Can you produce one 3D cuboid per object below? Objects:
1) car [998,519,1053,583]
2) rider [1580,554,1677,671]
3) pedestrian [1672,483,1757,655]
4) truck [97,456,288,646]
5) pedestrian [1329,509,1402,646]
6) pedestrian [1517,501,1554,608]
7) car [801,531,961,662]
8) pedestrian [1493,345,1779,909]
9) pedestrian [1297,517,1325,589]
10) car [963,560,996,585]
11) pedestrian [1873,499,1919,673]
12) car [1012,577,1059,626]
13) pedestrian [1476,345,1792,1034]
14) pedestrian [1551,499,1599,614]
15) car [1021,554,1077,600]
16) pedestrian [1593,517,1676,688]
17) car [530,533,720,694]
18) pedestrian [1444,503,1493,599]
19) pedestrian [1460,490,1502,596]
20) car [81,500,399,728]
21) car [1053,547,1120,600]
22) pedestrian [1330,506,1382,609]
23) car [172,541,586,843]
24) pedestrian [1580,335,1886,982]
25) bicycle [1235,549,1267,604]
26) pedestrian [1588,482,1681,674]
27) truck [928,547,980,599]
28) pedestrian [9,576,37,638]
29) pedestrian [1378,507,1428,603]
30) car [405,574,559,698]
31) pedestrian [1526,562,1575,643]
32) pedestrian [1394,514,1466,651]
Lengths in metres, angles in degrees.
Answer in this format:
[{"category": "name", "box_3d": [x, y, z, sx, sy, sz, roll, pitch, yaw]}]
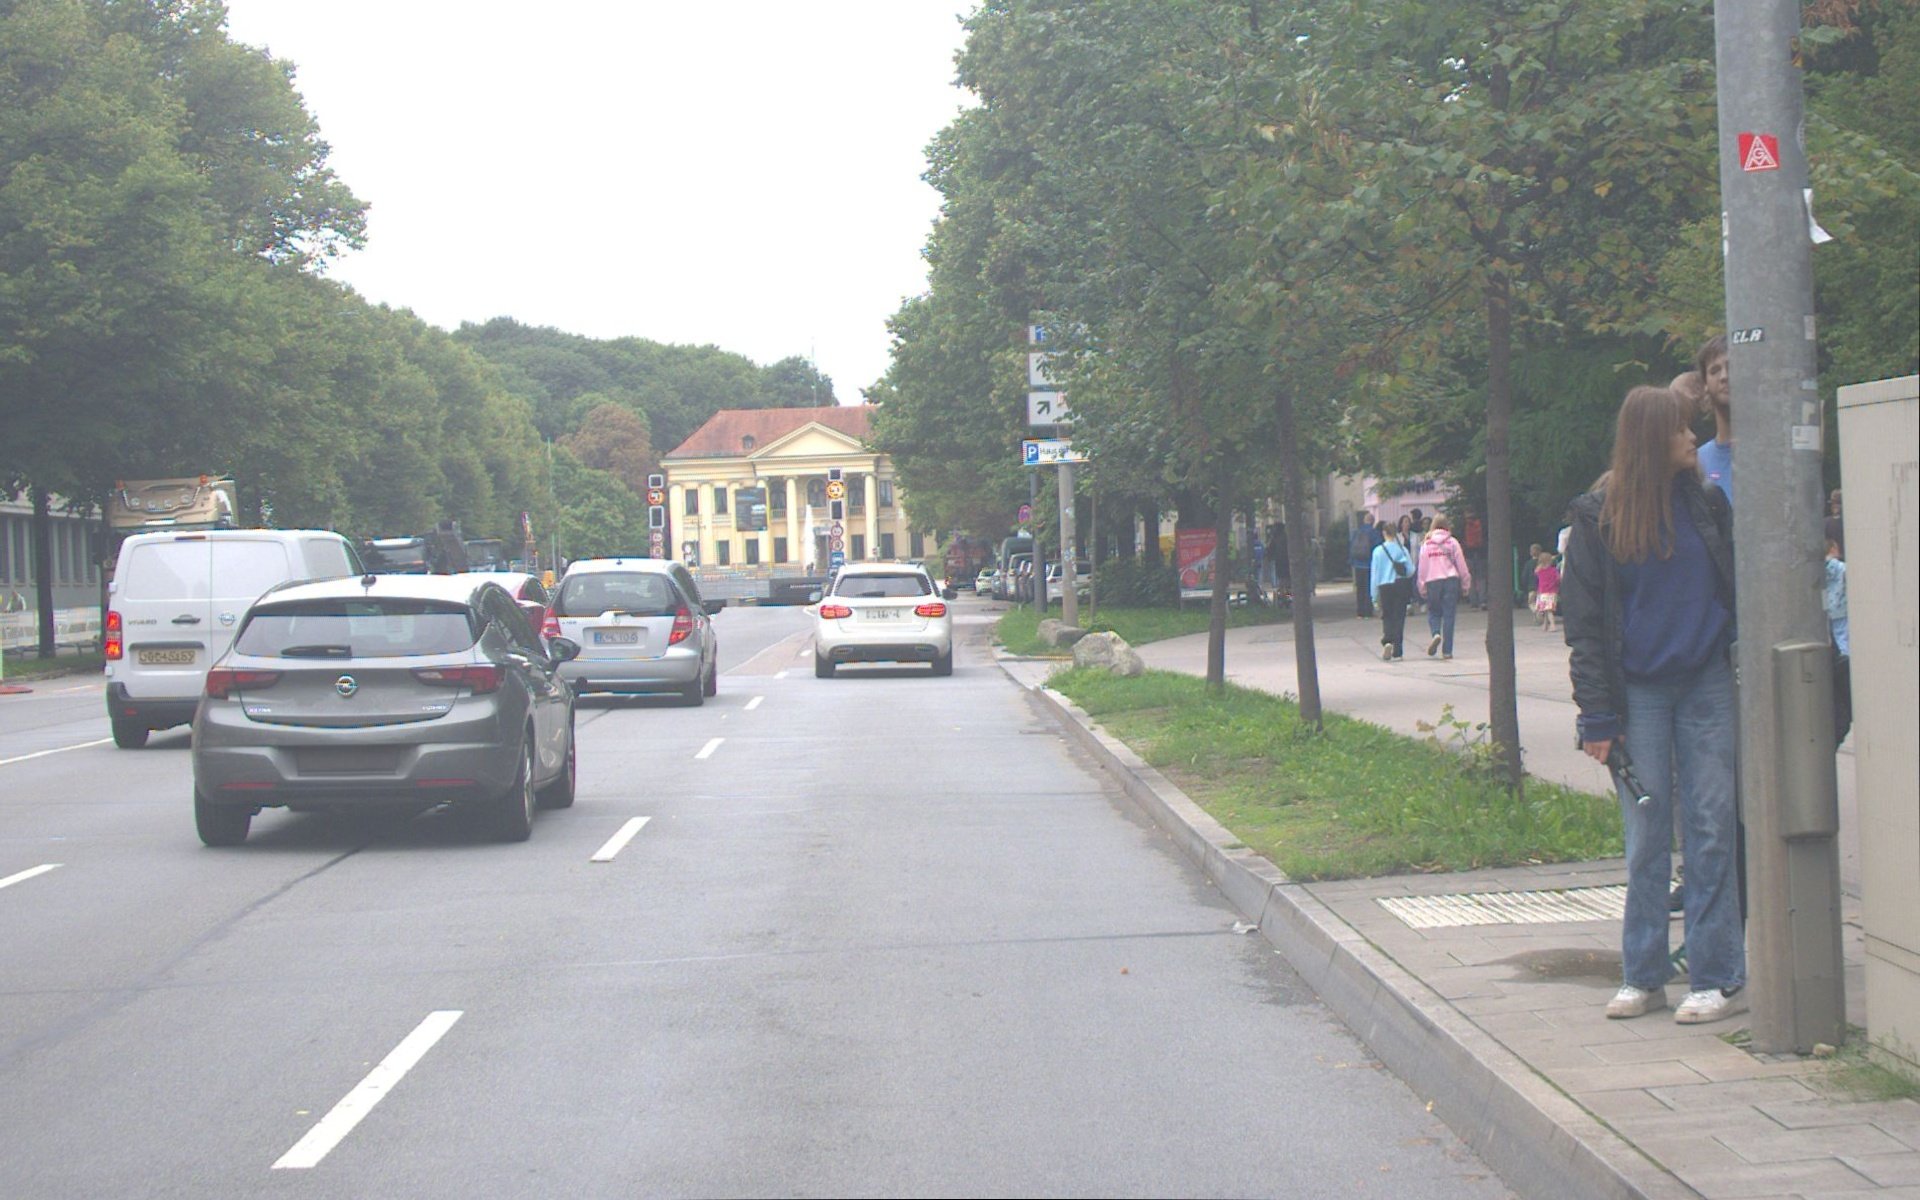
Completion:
[{"category": "car", "box_3d": [2.730, -2.060, 144.362, 1.993, 2.634, 4.878, -1, 1, -2]}, {"category": "rider", "box_3d": [6.478, 0.116, 33.373, 0.765, 1.108, 1.244, -1, 1, 4]}, {"category": "pedestrian", "box_3d": [7.512, -0.308, 34.249, 0.726, 1.685, 0.648, -1, 1, 4]}, {"category": "truck", "box_3d": [-16.092, -1.030, 72.566, 2.915, 3.762, 7.667, -1, 1, -5]}, {"category": "pedestrian", "box_3d": [4.924, -0.277, 41.739, 0.755, 1.638, 0.849, 0, 1, 15]}, {"category": "pedestrian", "box_3d": [8.468, -0.675, 50.588, 0.485, 1.560, 0.572, 0, 1, 15]}, {"category": "car", "box_3d": [-1.083, -0.068, 45.323, 1.779, 1.639, 4.001, -1, 1, -6]}, {"category": "pedestrian", "box_3d": [2.337, 0.087, 11.891, 0.805, 1.874, 0.543, 0, 1, 35]}, {"category": "pedestrian", "box_3d": [8.598, -1.149, 84.184, 0.630, 1.768, 0.782, -1, 1, 3]}, {"category": "car", "box_3d": [1.077, -1.517, 191.242, 1.724, 1.319, 4.028, -2, 1, 0]}, {"category": "pedestrian", "box_3d": [8.428, -0.125, 30.409, 0.549, 1.522, 0.648, -1, 1, 4]}, {"category": "car", "box_3d": [3.015, 0.054, 137.714, 1.724, 1.861, 4.028, -2, 1, 0]}, {"category": "pedestrian", "box_3d": [1.817, 0.231, 9.338, 0.708, 1.802, 0.639, -1, 1, -1]}, {"category": "pedestrian", "box_3d": [8.996, -0.634, 50.266, 0.632, 1.661, 0.572, 0, 1, 15]}, {"category": "car", "box_3d": [3.062, -0.805, 118.858, 1.724, 1.459, 4.776, -2, 1, 0]}, {"category": "pedestrian", "box_3d": [6.727, 0.019, 34.317, 0.726, 1.685, 0.648, -1, 1, 4]}, {"category": "car", "box_3d": [-3.616, 0.113, 37.664, 1.779, 1.648, 4.000, -1, 1, -1]}, {"category": "pedestrian", "box_3d": [8.780, -0.845, 59.369, 0.755, 1.638, 0.690, 0, 1, 15]}, {"category": "pedestrian", "box_3d": [8.994, -0.979, 59.346, 0.588, 1.816, 0.850, -1, 1, 0]}, {"category": "car", "box_3d": [-6.416, 0.101, 31.180, 1.898, 1.841, 4.956, -2, 0, -1]}, {"category": "car", "box_3d": [3.886, -0.829, 106.274, 1.827, 1.544, 4.752, -2, 1, 0]}, {"category": "pedestrian", "box_3d": [6.722, -0.723, 58.329, 0.755, 1.731, 0.849, 0, 1, 15]}, {"category": "car", "box_3d": [-3.226, 0.452, 19.812, 1.710, 1.546, 4.000, -1, 1, 0]}, {"category": "pedestrian", "box_3d": [2.268, 0.158, 10.059, 0.638, 1.802, 0.709, 0, 1, 35]}, {"category": "bicycle", "box_3d": [5.460, -0.447, 64.574, 0.384, 1.018, 2.079, -1, 1, 0]}, {"category": "pedestrian", "box_3d": [6.002, -0.201, 30.634, 0.726, 1.685, 0.648, -1, 1, 4]}, {"category": "truck", "box_3d": [-0.450, -1.831, 228.981, 3.325, 3.355, 8.663, -1, 1, -1]}, {"category": "pedestrian", "box_3d": [-26.713, 0.197, 97.983, 0.578, 1.726, 0.764, -1, 1, 0]}, {"category": "pedestrian", "box_3d": [7.612, -0.768, 59.023, 0.755, 1.638, 0.650, 0, 1, 15]}, {"category": "car", "box_3d": [-6.747, 0.475, 48.868, 1.779, 1.648, 4.000, -1, 1, -2]}, {"category": "pedestrian", "box_3d": [8.367, 0.034, 48.720, 0.632, 1.133, 0.572, 0, 1, 15]}, {"category": "pedestrian", "box_3d": [5.698, -0.210, 41.620, 0.755, 1.638, 0.849, 0, 1, 15]}]
